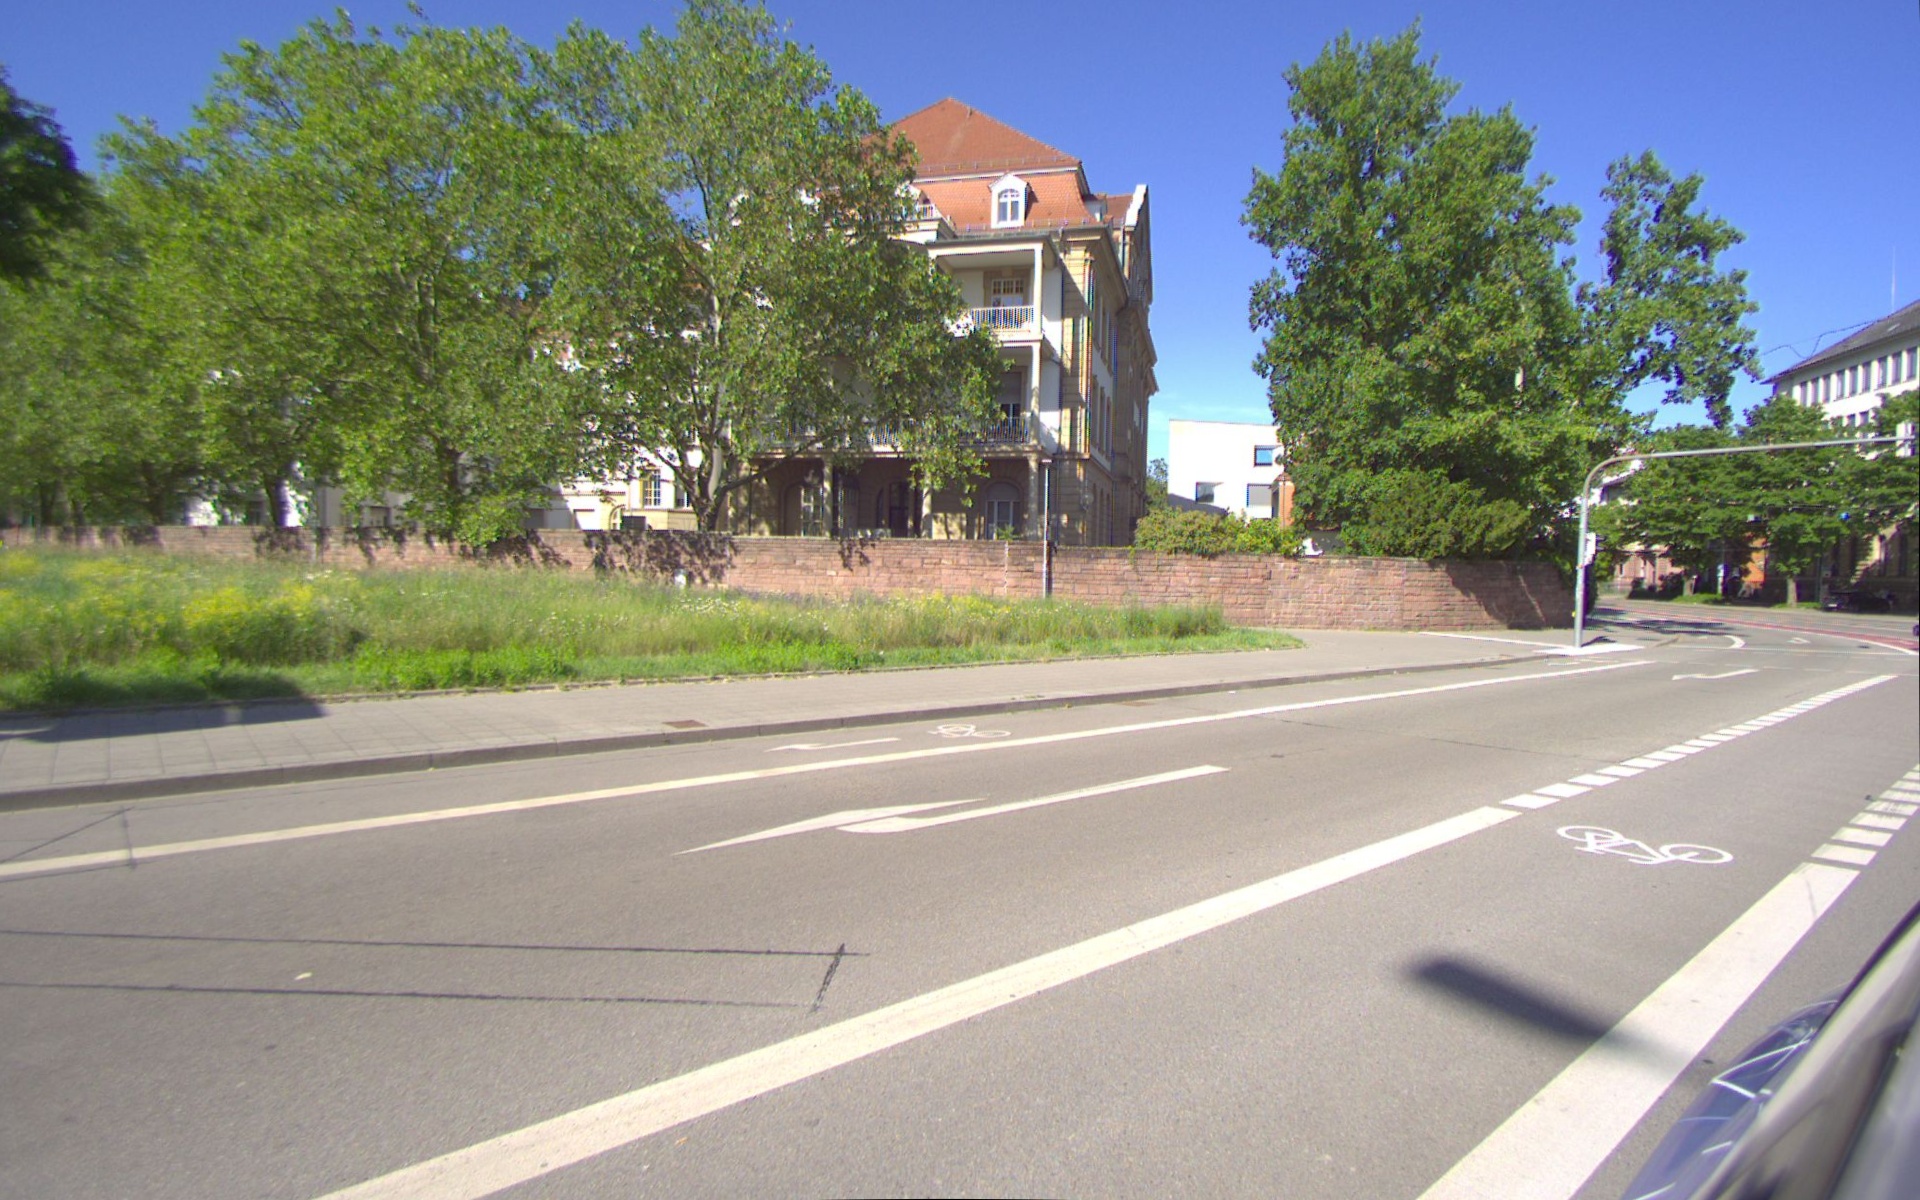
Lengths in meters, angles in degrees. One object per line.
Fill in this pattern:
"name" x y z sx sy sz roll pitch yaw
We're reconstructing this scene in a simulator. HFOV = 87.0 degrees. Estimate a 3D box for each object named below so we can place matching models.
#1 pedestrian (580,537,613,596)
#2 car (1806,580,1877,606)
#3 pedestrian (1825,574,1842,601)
"pedestrian" -11.722 -1.080 32.643 0.778 1.881 0.626 2 1 22
"car" 60.115 -0.530 69.099 1.806 1.615 3.988 2 2 11
"pedestrian" 64.642 -0.917 74.876 0.568 1.927 0.781 1 1 12
